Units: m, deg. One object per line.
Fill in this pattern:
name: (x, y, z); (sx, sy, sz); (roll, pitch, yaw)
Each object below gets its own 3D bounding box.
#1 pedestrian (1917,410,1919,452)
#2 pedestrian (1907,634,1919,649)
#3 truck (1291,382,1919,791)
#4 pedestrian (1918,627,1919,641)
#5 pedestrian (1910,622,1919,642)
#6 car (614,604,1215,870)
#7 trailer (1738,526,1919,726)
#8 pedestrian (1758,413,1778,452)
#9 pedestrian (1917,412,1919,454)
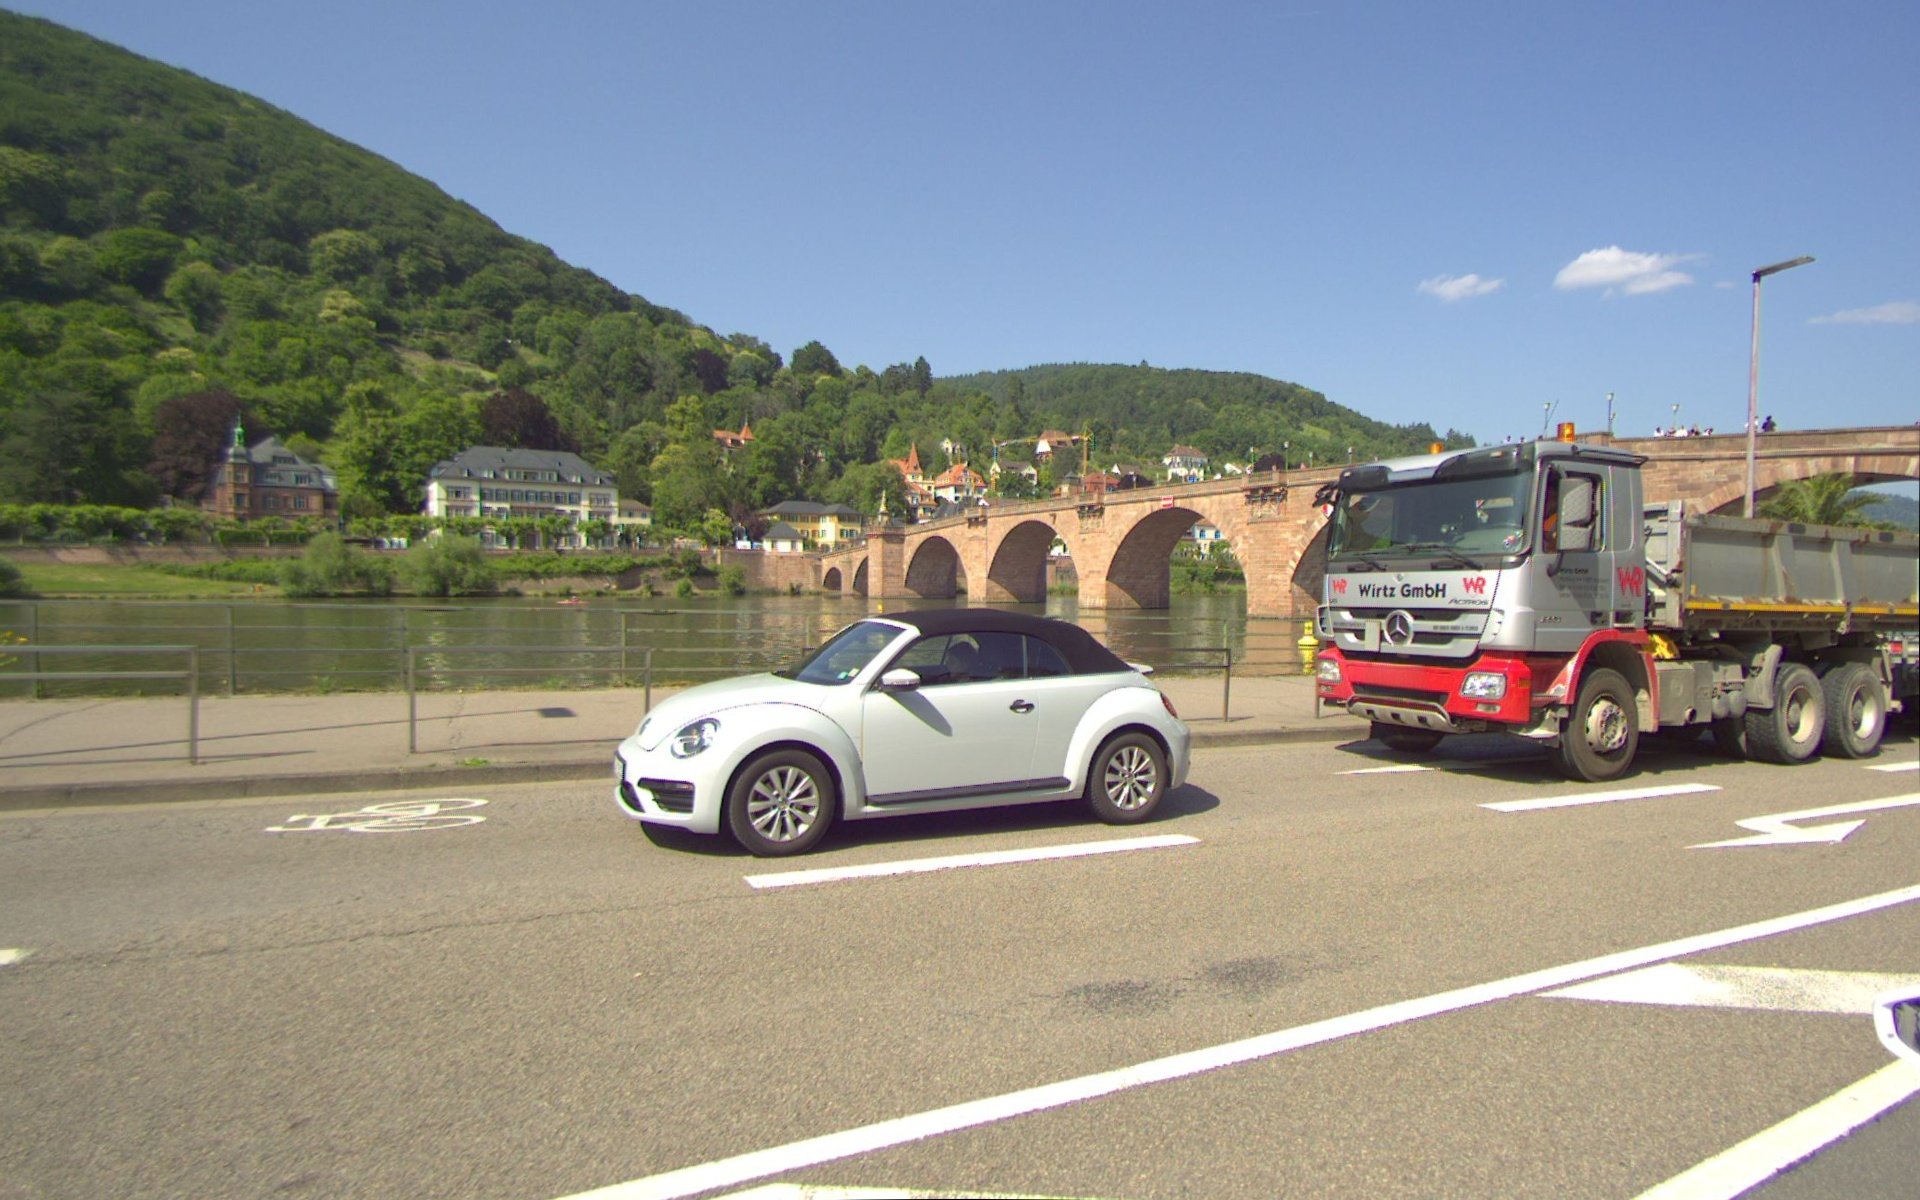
pedestrian: (48.516, -8.509, 50.349); (0.688, 2.040, 0.619); (0, 0, -35)
pedestrian: (37.462, 1.618, 39.228); (0.506, 0.571, 0.463); (1, -3, -18)
truck: (7.681, -0.029, 11.472); (7.765, 3.502, 2.634); (1, -1, -26)
pedestrian: (38.602, 1.339, 40.004); (0.506, 0.571, 0.463); (1, -3, -18)
pedestrian: (38.702, 1.289, 40.167); (0.699, 0.753, 0.786); (0, 1, -18)
car: (-0.315, 0.801, 7.219); (3.943, 1.463, 1.772); (1, 0, -25)
trailer: (15.082, 0.423, 15.026); (6.854, 2.564, 2.689); (1, -1, -25)
pedestrian: (45.182, -9.364, 56.141); (0.618, 2.040, 0.689); (0, 0, -31)
pedestrian: (48.960, -8.503, 50.956); (0.549, 2.040, 0.455); (0, 0, -35)
